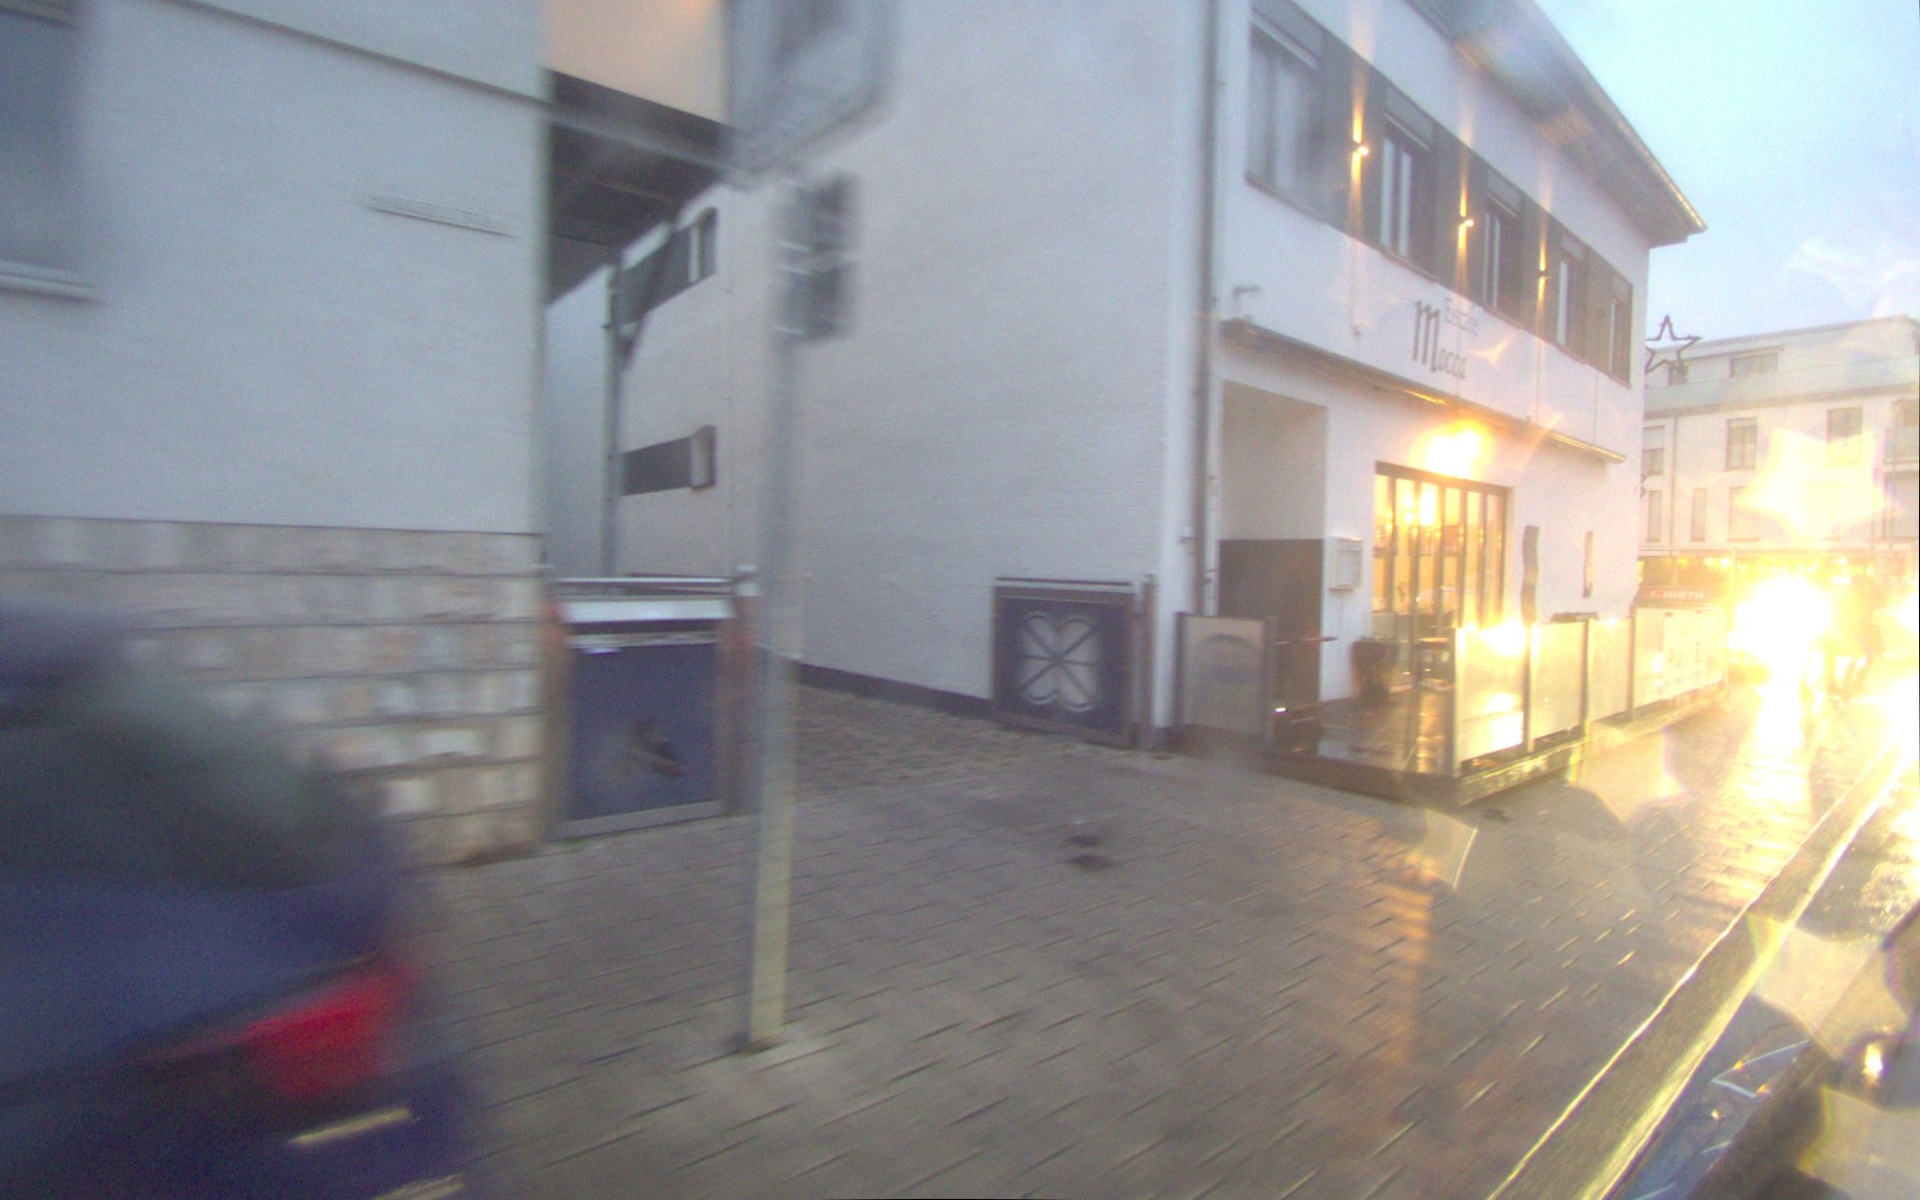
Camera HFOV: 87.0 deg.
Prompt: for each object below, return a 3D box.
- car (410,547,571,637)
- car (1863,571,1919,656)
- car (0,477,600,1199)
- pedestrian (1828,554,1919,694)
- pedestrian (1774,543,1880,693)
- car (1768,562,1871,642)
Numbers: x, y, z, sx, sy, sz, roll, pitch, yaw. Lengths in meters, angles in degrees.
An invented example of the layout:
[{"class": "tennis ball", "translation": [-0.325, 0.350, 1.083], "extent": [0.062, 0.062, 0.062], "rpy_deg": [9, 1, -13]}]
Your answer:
[{"class": "car", "translation": [-9.022, -0.193, 19.278], "extent": [1.901, 1.433, 3.962], "rpy_deg": [2, 2, -38]}, {"class": "car", "translation": [18.926, 0.244, 18.852], "extent": [2.008, 1.497, 4.518], "rpy_deg": [-1, 2, 27]}, {"class": "car", "translation": [-2.567, 0.564, 0.526], "extent": [4.122, 1.482, 1.733], "rpy_deg": [0, 4, -39]}, {"class": "pedestrian", "translation": [12.200, 0.301, 13.385], "extent": [0.754, 1.783, 0.792], "rpy_deg": [-1, 1, 3]}, {"class": "pedestrian", "translation": [11.376, 0.219, 13.307], "extent": [0.696, 1.889, 0.792], "rpy_deg": [-1, 1, 3]}, {"class": "car", "translation": [21.307, -0.016, 25.132], "extent": [1.818, 1.767, 3.943], "rpy_deg": [0, 2, 40]}]
